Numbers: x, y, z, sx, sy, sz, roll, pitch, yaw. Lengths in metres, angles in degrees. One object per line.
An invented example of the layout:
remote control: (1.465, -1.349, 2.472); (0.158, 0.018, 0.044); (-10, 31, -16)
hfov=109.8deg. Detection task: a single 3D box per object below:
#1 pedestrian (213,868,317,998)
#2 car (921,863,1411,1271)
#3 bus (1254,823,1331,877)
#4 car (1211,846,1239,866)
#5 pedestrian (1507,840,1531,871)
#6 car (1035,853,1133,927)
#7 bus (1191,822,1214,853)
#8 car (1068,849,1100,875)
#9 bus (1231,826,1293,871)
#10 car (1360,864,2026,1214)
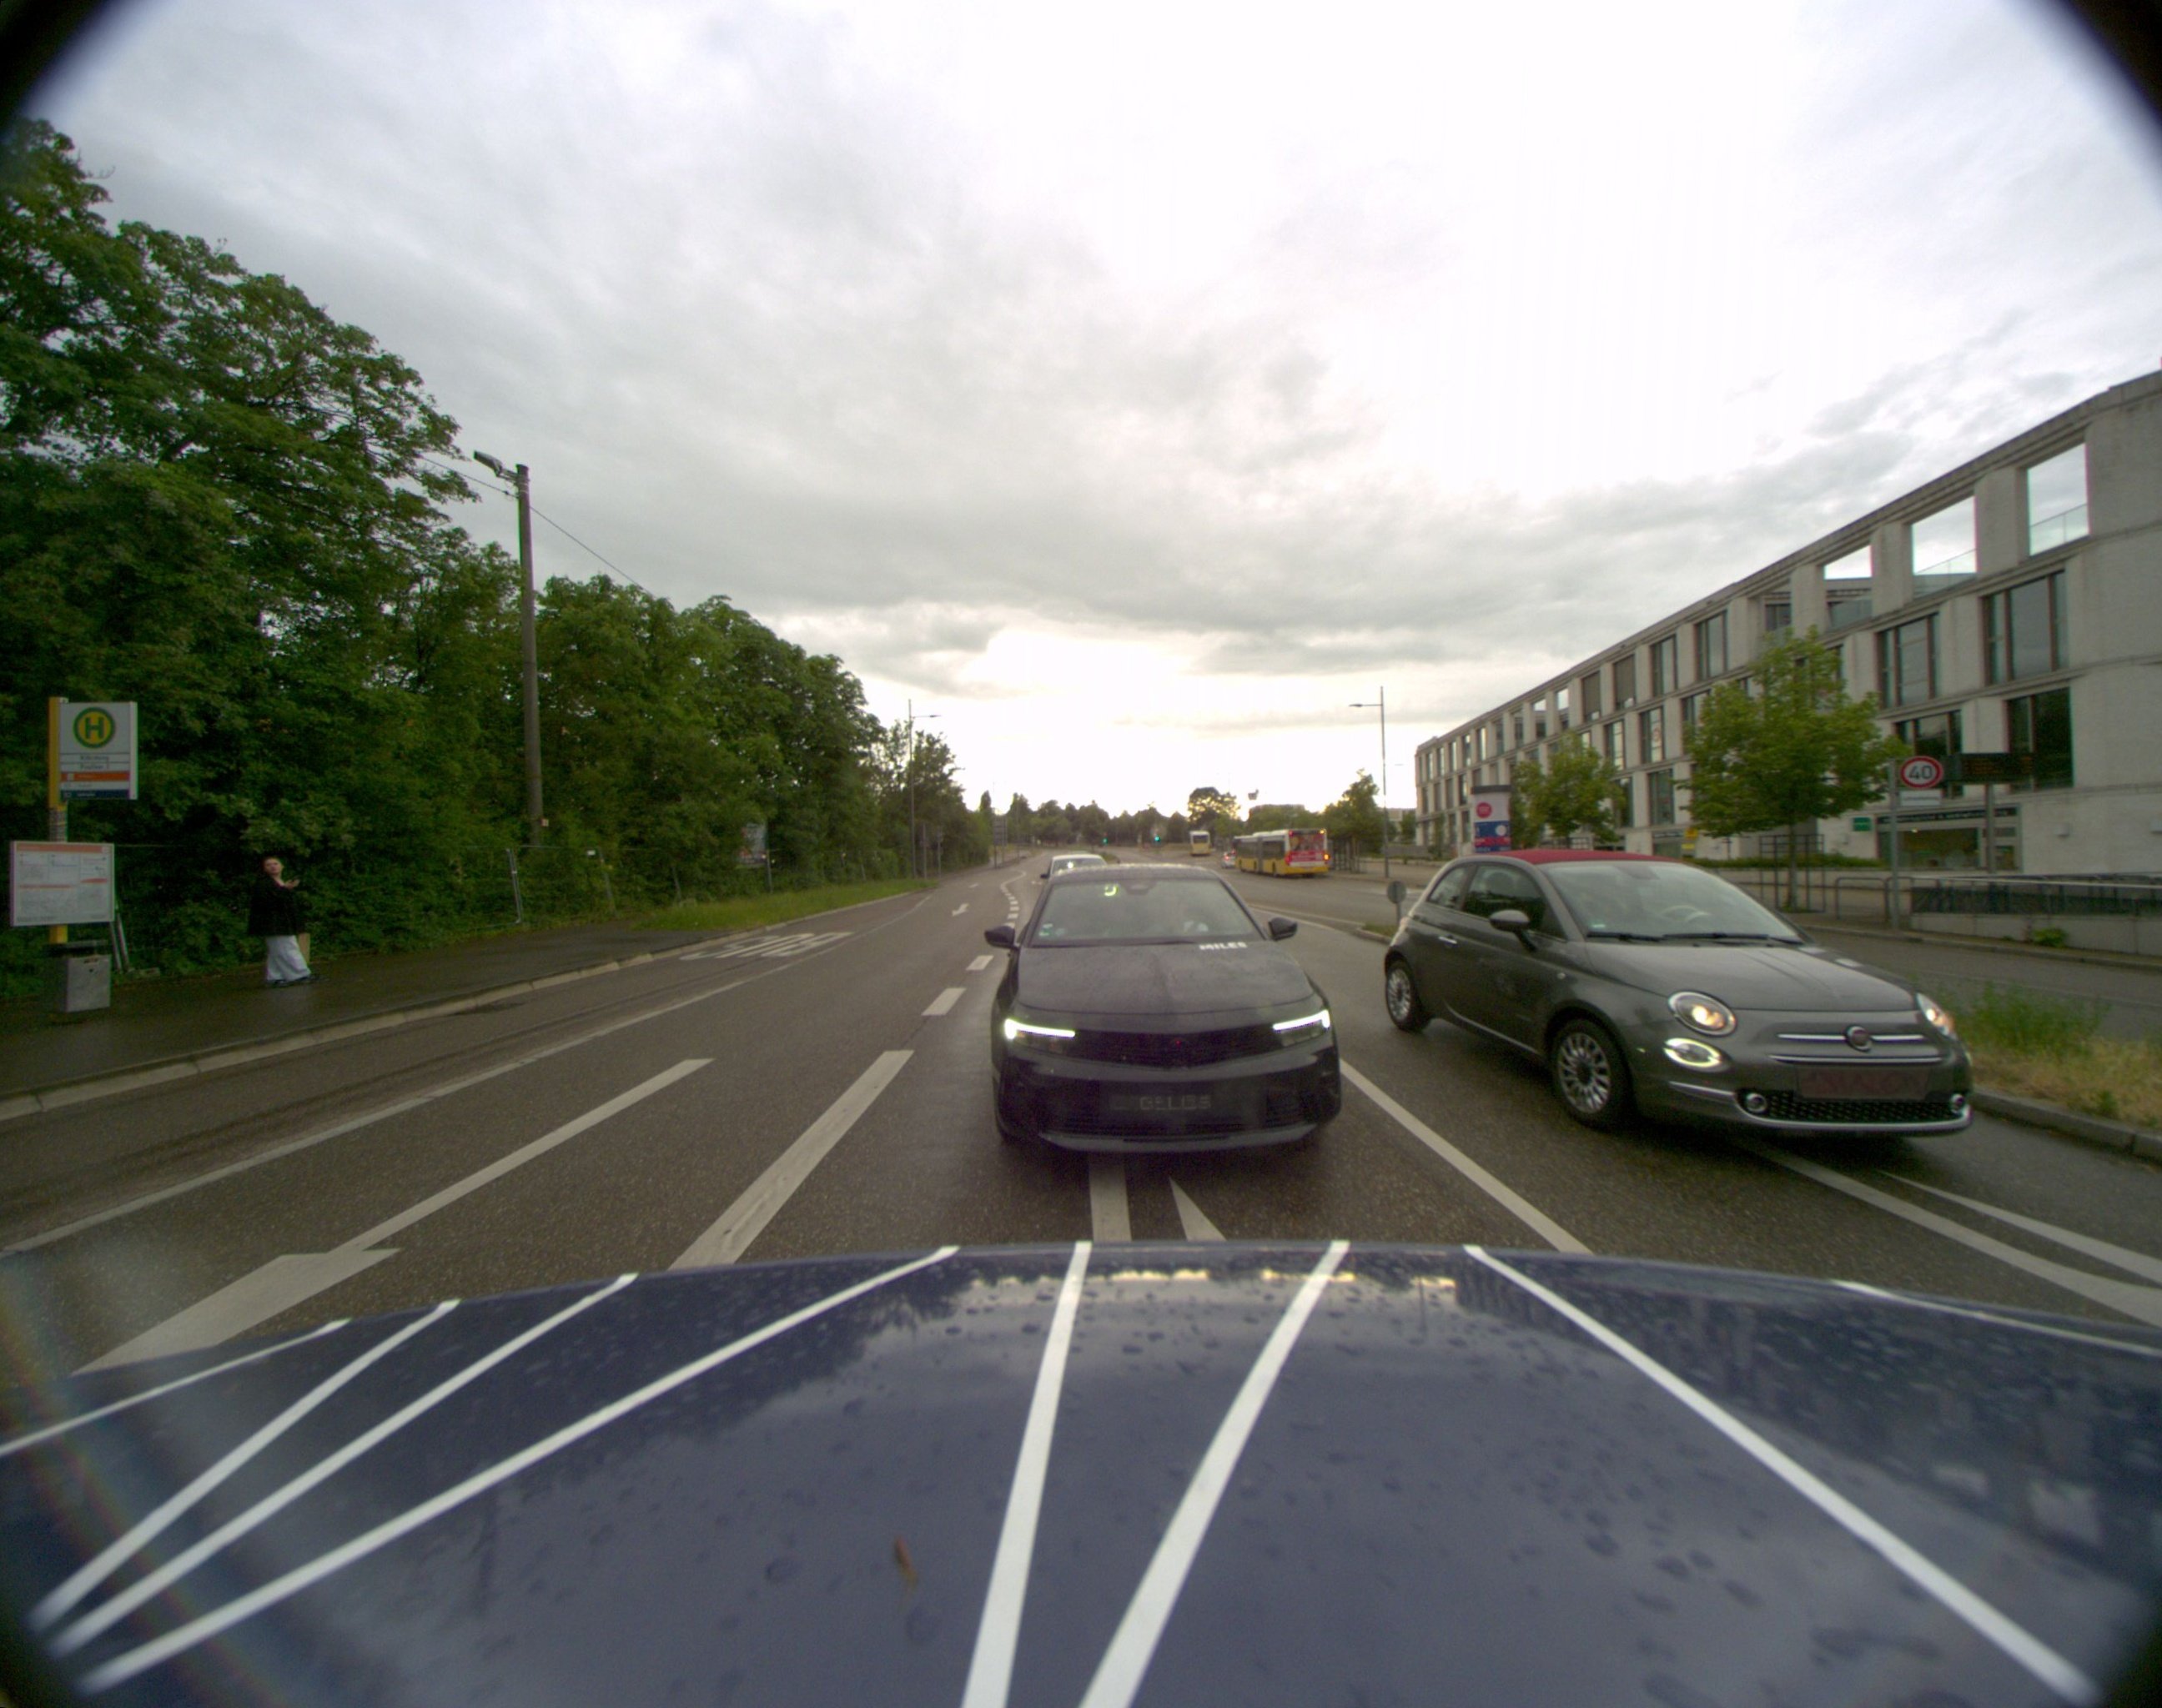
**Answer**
pedestrian: (-10.651, 1.010, 9.937); (0.588, 1.618, 0.661); (-1, 1, 1)
car: (0.374, 0.882, 5.412); (1.901, 1.456, 4.767); (-2, 1, 1)
bus: (13.815, -0.310, 50.538); (2.759, 3.194, 9.207); (-2, 1, 2)
car: (13.573, 0.162, 71.658); (1.867, 1.777, 3.999); (-2, 1, 1)
pedestrian: (22.710, 0.060, 39.404); (0.981, 1.572, 0.868); (-1, 1, 35)
car: (-0.069, 0.791, 19.236); (1.902, 1.524, 4.764); (-2, 1, -6)
bus: (18.427, -2.420, 114.241); (2.757, 4.129, 19.359); (-2, 1, 11)
car: (0.148, 0.481, 50.251); (1.934, 1.649, 4.617); (-1, 0, -2)
bus: (14.105, -0.449, 60.043); (2.693, 3.163, 9.912); (-2, 1, 2)
car: (3.408, 0.849, 5.164); (1.631, 1.473, 3.505); (-1, 1, -2)
